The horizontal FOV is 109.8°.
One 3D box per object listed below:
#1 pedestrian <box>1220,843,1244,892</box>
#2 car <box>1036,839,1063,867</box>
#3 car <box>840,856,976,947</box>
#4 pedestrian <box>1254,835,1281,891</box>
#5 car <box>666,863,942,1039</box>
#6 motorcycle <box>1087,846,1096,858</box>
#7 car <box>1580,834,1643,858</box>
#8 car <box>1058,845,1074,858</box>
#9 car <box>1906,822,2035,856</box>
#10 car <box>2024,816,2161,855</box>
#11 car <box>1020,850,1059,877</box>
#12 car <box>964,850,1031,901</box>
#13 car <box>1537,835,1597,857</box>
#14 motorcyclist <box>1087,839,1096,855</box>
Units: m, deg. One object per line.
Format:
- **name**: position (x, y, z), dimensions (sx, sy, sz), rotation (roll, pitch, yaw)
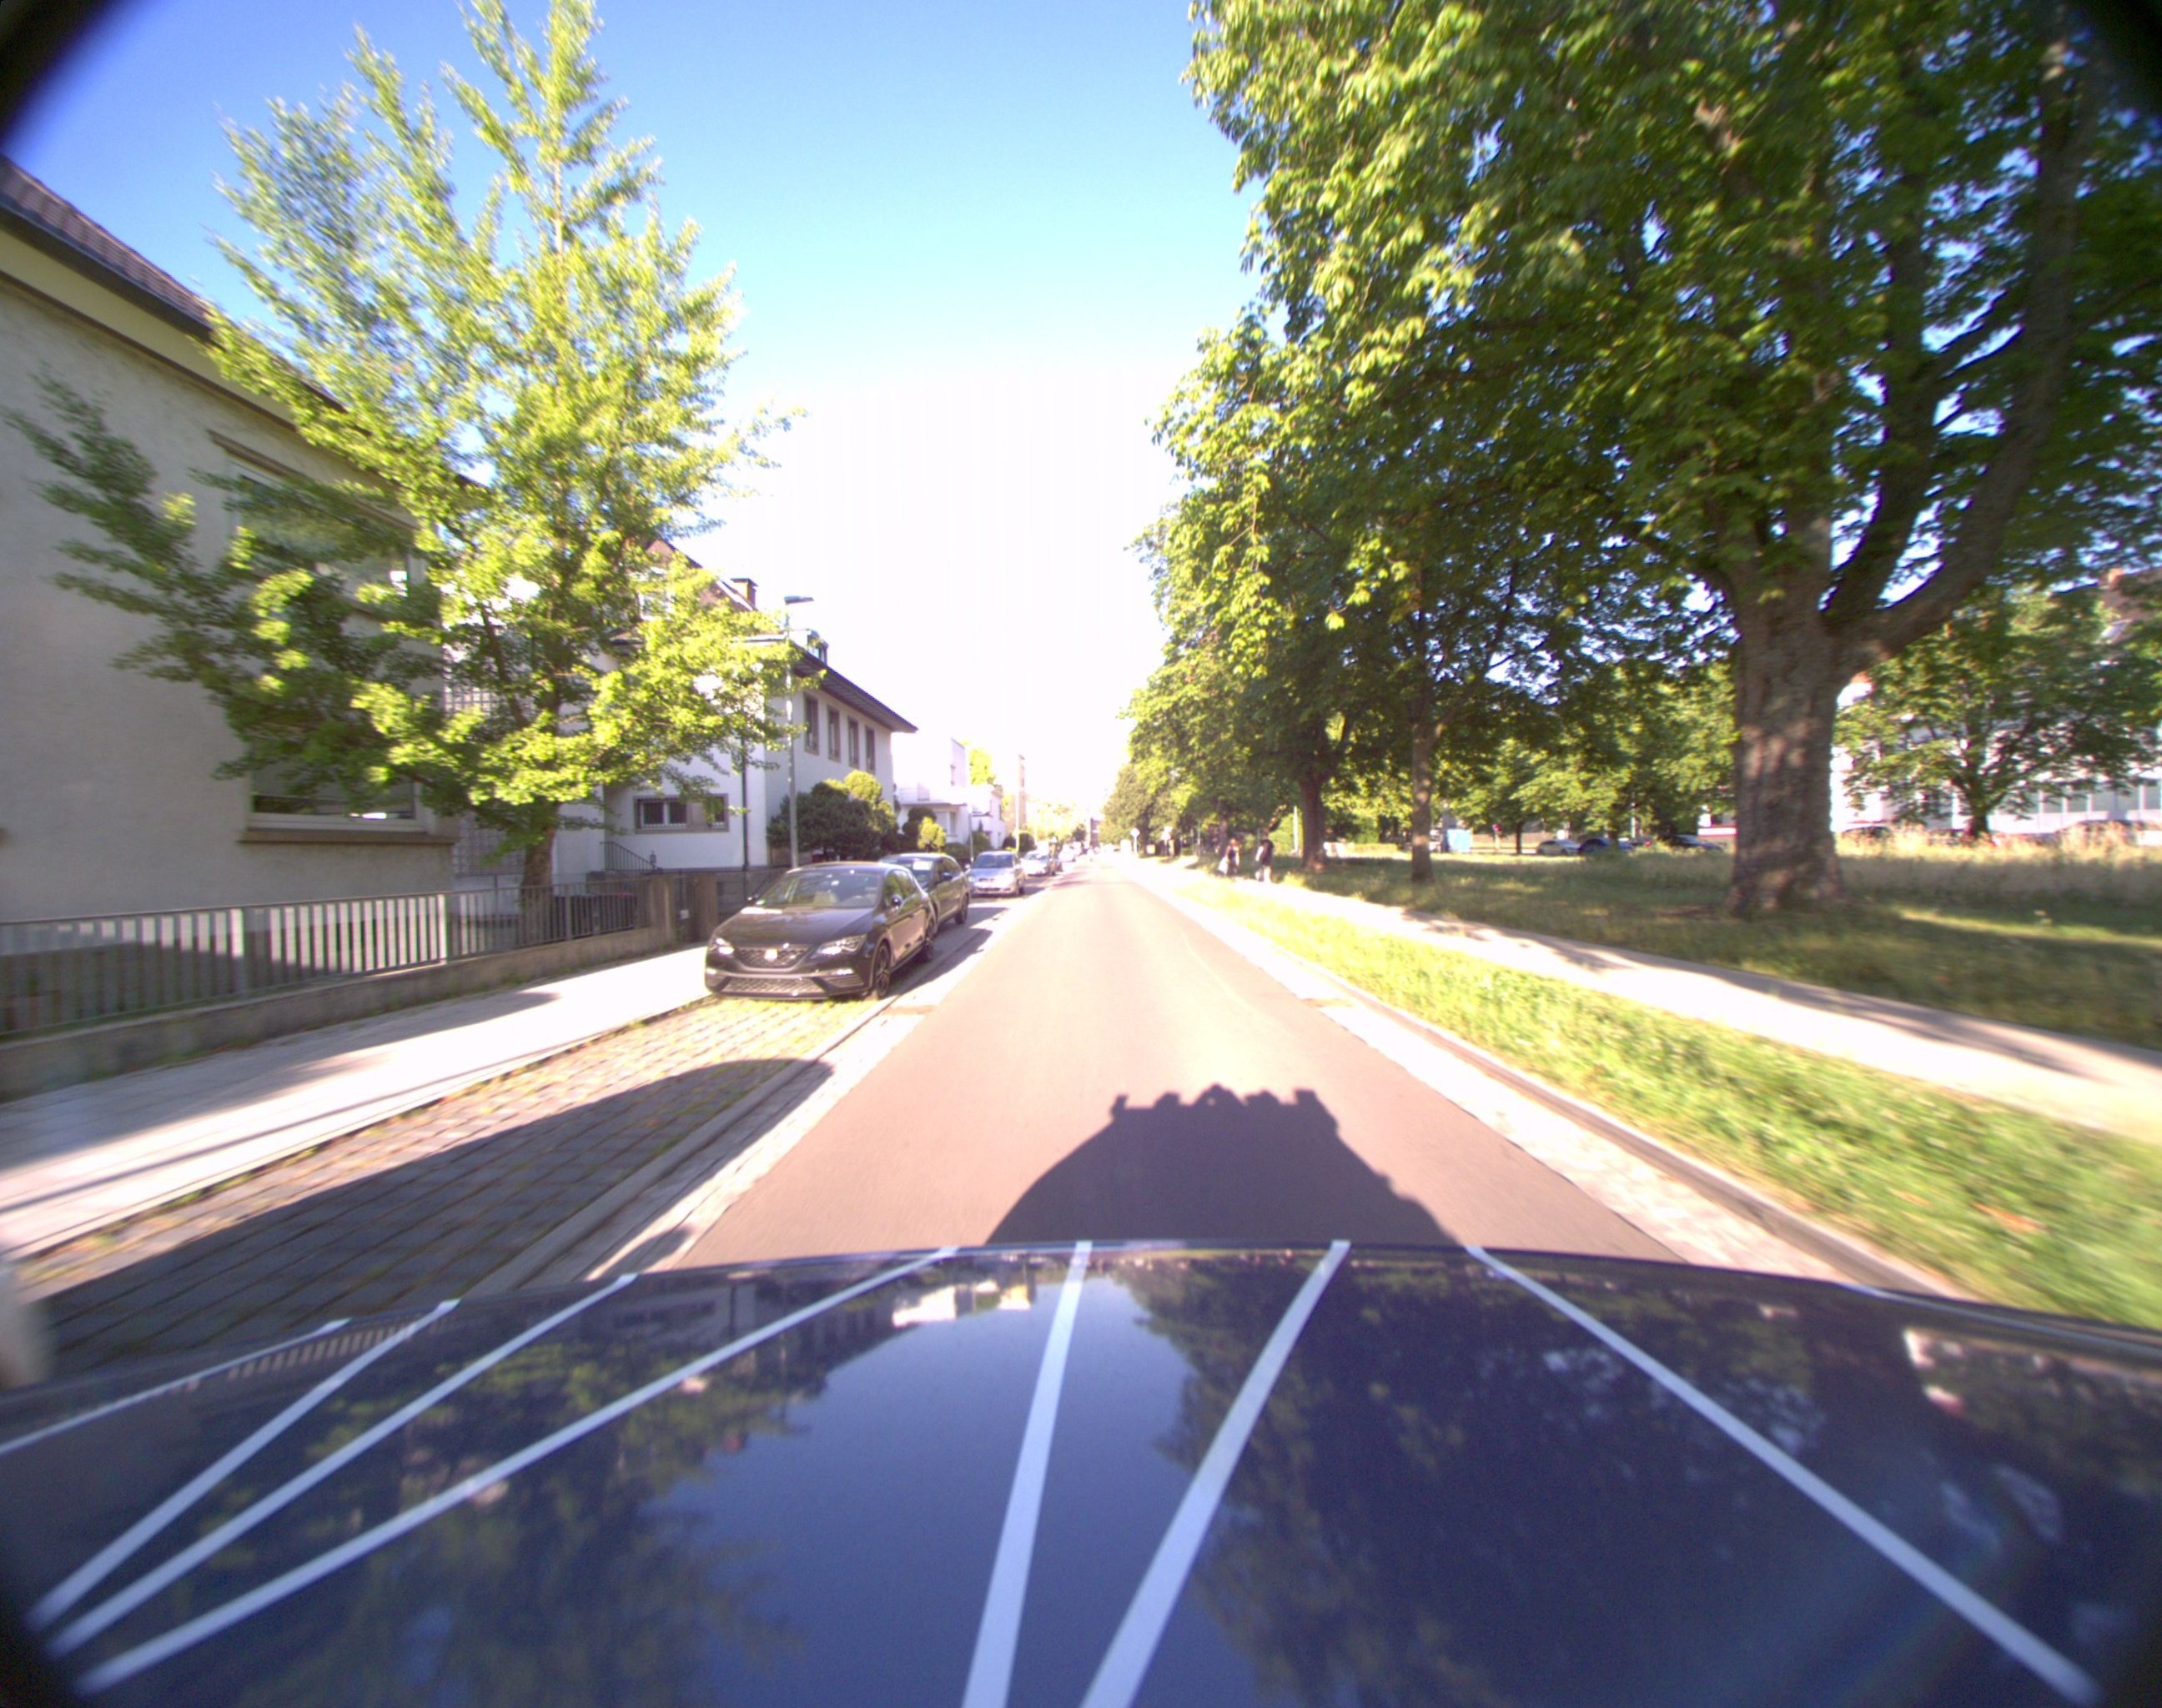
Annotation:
- **pedestrian**: position (5.205, 0.461, 26.196), dimensions (0.625, 1.621, 0.606), rotation (-2, 2, 27)
- **car**: position (-2.581, -0.123, 62.452), dimensions (1.844, 2.196, 3.763), rotation (-2, 1, 2)
- **car**: position (-3.267, 0.832, 15.113), dimensions (1.665, 1.471, 3.763), rotation (-2, 1, 2)
- **pedestrian**: position (6.324, 0.295, 25.744), dimensions (0.625, 1.841, 0.606), rotation (-1, 3, 40)
- **car**: position (-2.947, 0.929, 9.090), dimensions (1.745, 1.471, 4.056), rotation (-2, 1, 0)
- **motorcycle**: position (1.357, -0.242, 98.075), dimensions (1.077, 1.373, 2.463), rotation (-3, 1, 0)
- **car**: position (38.218, -0.592, 54.873), dimensions (1.766, 1.619, 3.999), rotation (-3, 1, 1)
- **car**: position (-1.846, -0.272, 93.351), dimensions (1.844, 1.471, 3.763), rotation (-2, 1, 0)
- **car**: position (42.835, -0.750, 36.725), dimensions (1.767, 1.471, 3.794), rotation (-3, 2, 1)
- **car**: position (42.906, -0.782, 31.952), dimensions (1.767, 1.471, 3.794), rotation (-3, 2, 1)
- **car**: position (-2.435, 0.540, 45.281), dimensions (1.844, 1.471, 3.764), rotation (-2, 1, 3)
- **car**: position (-2.755, 0.666, 25.835), dimensions (1.665, 1.527, 3.832), rotation (-1, 1, 2)
- **car**: position (38.331, -0.619, 60.059), dimensions (1.873, 1.619, 4.426), rotation (-3, 1, 1)
- **motorcyclist**: position (1.338, -0.925, 97.929), dimensions (0.961, 2.002, 1.273), rotation (-3, 2, 0)
